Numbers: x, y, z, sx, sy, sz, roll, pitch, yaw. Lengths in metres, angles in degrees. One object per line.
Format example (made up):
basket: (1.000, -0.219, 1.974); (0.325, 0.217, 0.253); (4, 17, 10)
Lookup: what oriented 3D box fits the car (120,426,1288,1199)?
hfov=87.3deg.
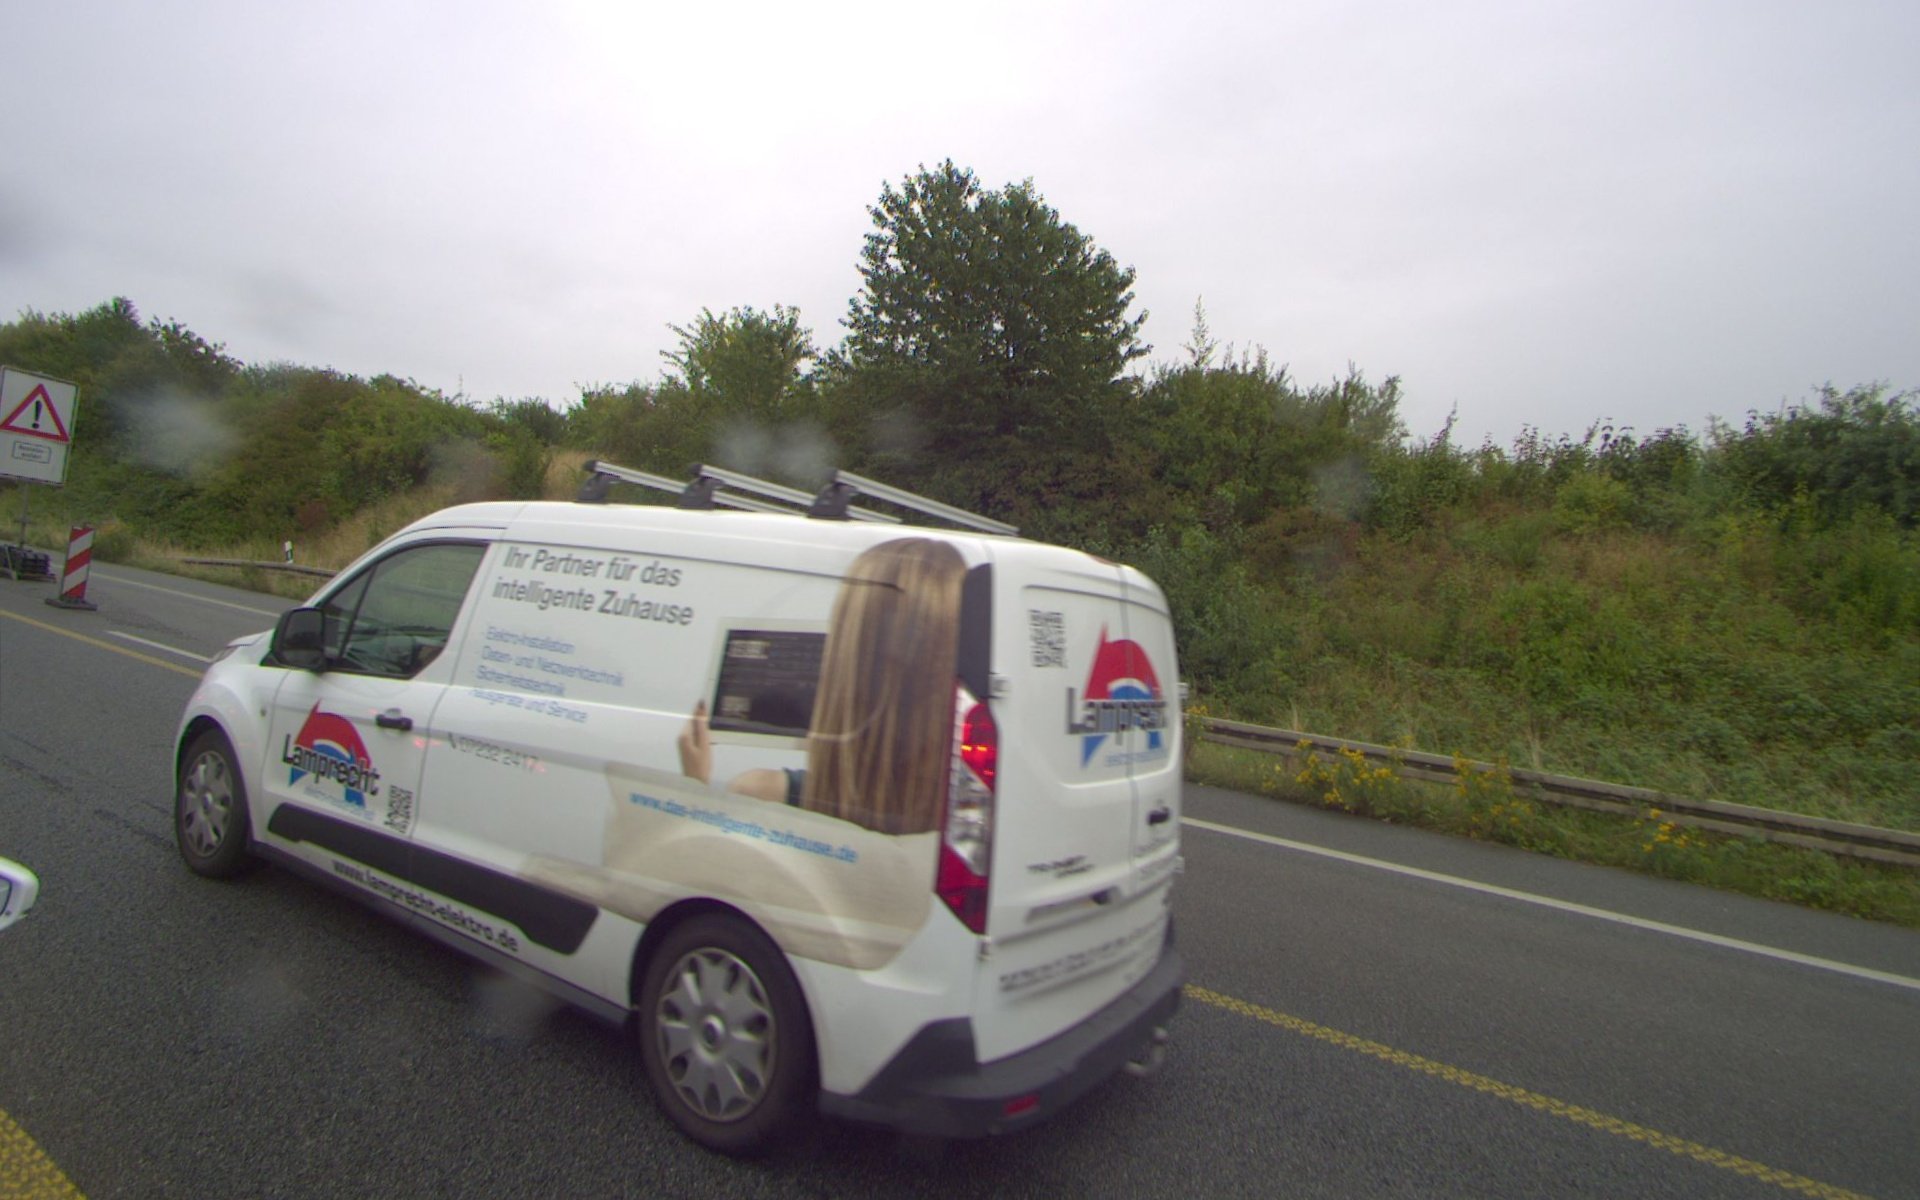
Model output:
car: (-1.302, 0.448, 4.141); (4.578, 1.861, 1.832); (7, -1, 32)
